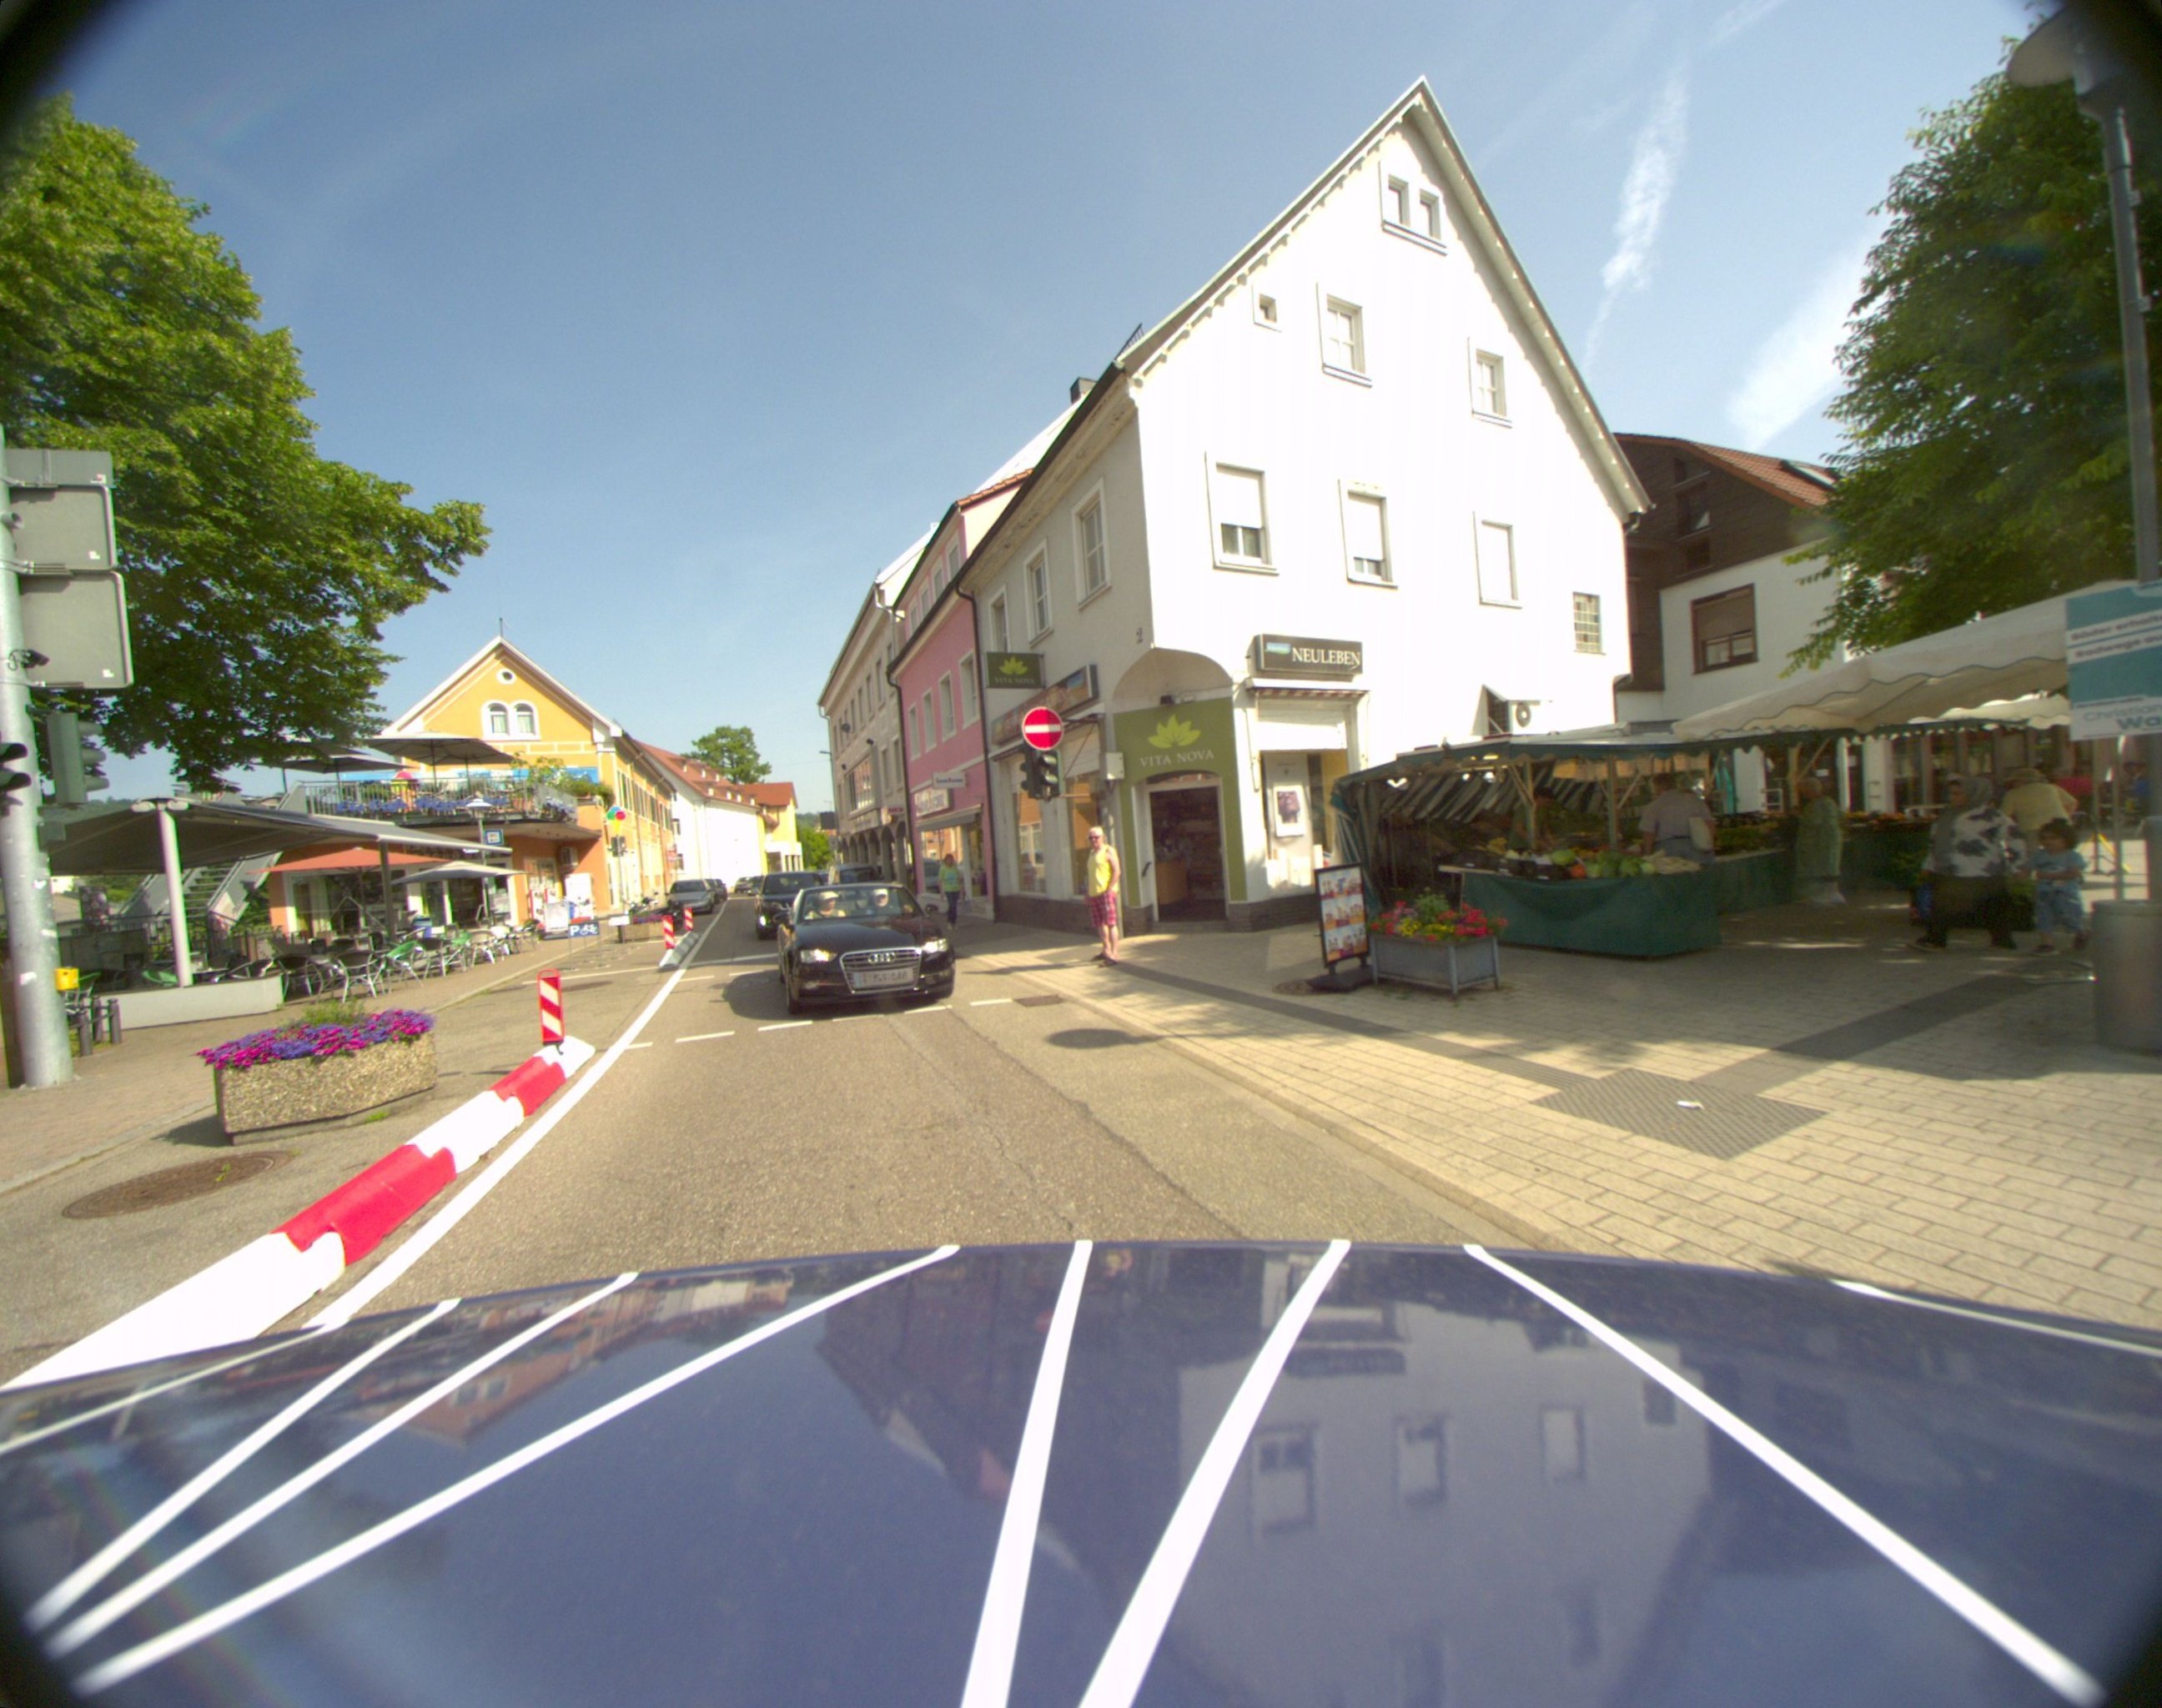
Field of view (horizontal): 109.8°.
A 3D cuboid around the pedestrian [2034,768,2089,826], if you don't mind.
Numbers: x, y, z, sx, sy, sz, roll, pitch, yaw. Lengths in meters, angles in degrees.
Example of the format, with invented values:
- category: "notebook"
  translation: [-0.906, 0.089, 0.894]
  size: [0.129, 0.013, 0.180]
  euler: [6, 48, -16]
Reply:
- category: "pedestrian"
  translation: [21.395, -1.235, 16.586]
  size: [0.651, 1.195, 0.571]
  euler: [-6, 4, -22]

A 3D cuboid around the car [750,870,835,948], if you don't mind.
- category: "car"
  translation: [-7.266, 1.273, 19.004]
  size: [1.685, 1.552, 3.963]
  euler: [-4, 1, -22]

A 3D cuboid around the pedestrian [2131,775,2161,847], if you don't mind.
- category: "pedestrian"
  translation: [18.359, -0.731, 12.835]
  size: [0.573, 1.195, 0.697]
  euler: [-7, 5, -36]

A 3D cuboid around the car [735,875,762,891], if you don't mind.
- category: "car"
  translation: [-31.285, 2.715, 71.567]
  size: [1.528, 1.237, 4.030]
  euler: [-4, 0, -13]

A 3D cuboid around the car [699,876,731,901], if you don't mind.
- category: "car"
  translation: [-24.902, 2.325, 51.791]
  size: [1.686, 1.531, 4.179]
  euler: [-4, 0, -22]

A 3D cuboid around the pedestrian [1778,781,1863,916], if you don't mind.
- category: "pedestrian"
  translation: [9.255, -0.074, 9.517]
  size: [0.708, 1.617, 0.521]
  euler: [-5, 2, -27]

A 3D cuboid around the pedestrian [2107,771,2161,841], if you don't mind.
- category: "pedestrian"
  translation: [18.928, -0.861, 13.632]
  size: [0.651, 1.195, 0.570]
  euler: [-7, 5, -33]

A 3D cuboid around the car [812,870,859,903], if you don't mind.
- category: "car"
  translation: [-12.917, 1.653, 39.782]
  size: [1.810, 1.462, 4.447]
  euler: [-5, 1, -23]

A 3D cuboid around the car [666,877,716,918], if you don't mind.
- category: "car"
  translation: [-17.675, 1.929, 34.602]
  size: [1.752, 1.588, 4.585]
  euler: [-5, 1, -25]

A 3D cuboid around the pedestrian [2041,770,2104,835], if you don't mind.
- category: "pedestrian"
  translation: [19.164, -0.989, 14.692]
  size: [0.651, 1.195, 0.571]
  euler: [-6, 4, -22]

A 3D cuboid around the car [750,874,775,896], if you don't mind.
- category: "car"
  translation: [-24.776, 2.406, 59.159]
  size: [1.685, 1.552, 3.336]
  euler: [-4, 0, -22]

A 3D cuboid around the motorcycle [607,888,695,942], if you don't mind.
- category: "motorcycle"
  translation: [-12.331, 1.731, 21.857]
  size: [0.915, 1.350, 1.903]
  euler: [-4, 1, 32]

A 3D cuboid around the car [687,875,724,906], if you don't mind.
- category: "car"
  translation: [-22.739, 2.162, 46.126]
  size: [1.686, 1.636, 4.244]
  euler: [-4, 0, -22]

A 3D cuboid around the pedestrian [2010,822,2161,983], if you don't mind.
- category: "pedestrian"
  translation: [7.827, 0.354, 5.922]
  size: [0.622, 1.154, 0.515]
  euler: [-4, 2, -16]

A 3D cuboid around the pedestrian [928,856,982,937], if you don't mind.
- category: "pedestrian"
  translation: [-2.732, 0.891, 16.437]
  size: [0.789, 1.623, 0.857]
  euler: [-7, 2, -21]

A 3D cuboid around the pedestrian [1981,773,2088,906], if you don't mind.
- category: "pedestrian"
  translation: [11.383, -0.175, 9.079]
  size: [0.634, 1.510, 0.621]
  euler: [-4, 2, -22]

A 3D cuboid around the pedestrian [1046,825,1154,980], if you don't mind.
- category: "pedestrian"
  translation: [0.279, 0.608, 9.947]
  size: [1.019, 1.805, 0.907]
  euler: [-8, 4, 12]

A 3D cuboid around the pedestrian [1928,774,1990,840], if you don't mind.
- category: "pedestrian"
  translation: [18.315, -0.977, 15.863]
  size: [0.700, 1.324, 0.625]
  euler: [-6, 4, -19]

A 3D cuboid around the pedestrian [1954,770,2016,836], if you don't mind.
- category: "pedestrian"
  translation: [19.198, -1.081, 16.142]
  size: [0.700, 1.324, 0.625]
  euler: [-6, 4, -19]

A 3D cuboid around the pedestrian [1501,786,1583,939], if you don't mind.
- category: "pedestrian"
  translation: [6.161, 0.109, 10.177]
  size: [0.706, 1.959, 0.508]
  euler: [-4, 2, 4]

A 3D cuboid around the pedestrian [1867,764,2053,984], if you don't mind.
- category: "pedestrian"
  translation: [7.440, 0.149, 6.454]
  size: [0.788, 1.714, 0.706]
  euler: [-4, 2, -12]

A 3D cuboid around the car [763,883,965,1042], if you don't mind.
- category: "car"
  translation: [-2.915, 1.121, 9.487]
  size: [1.758, 1.348, 4.192]
  euler: [-4, 0, -24]

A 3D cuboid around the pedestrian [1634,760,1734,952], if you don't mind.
- category: "pedestrian"
  translation: [6.564, 0.017, 8.268]
  size: [0.653, 1.974, 0.705]
  euler: [-5, 2, -43]

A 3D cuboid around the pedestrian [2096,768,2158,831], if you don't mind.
- category: "pedestrian"
  translation: [20.986, -1.090, 15.254]
  size: [0.651, 1.195, 0.571]
  euler: [-6, 4, -22]

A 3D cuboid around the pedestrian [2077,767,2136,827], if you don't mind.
- category: "pedestrian"
  translation: [21.624, -1.194, 16.028]
  size: [0.651, 1.195, 0.571]
  euler: [-6, 4, -22]

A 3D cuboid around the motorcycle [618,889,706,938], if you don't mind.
- category: "motorcycle"
  translation: [-12.764, 1.800, 23.212]
  size: [0.927, 1.263, 2.094]
  euler: [-4, 1, 27]

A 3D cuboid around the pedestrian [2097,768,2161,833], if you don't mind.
- category: "pedestrian"
  translation: [20.407, -1.033, 14.803]
  size: [0.651, 1.195, 0.571]
  euler: [-6, 4, -22]

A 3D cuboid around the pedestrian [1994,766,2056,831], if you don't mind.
- category: "pedestrian"
  translation: [20.229, -1.182, 16.285]
  size: [0.700, 1.324, 0.625]
  euler: [-6, 4, -19]

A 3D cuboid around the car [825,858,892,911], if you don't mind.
- category: "car"
  translation: [-8.731, 1.165, 29.589]
  size: [1.713, 1.729, 4.138]
  euler: [-7, 1, -25]
